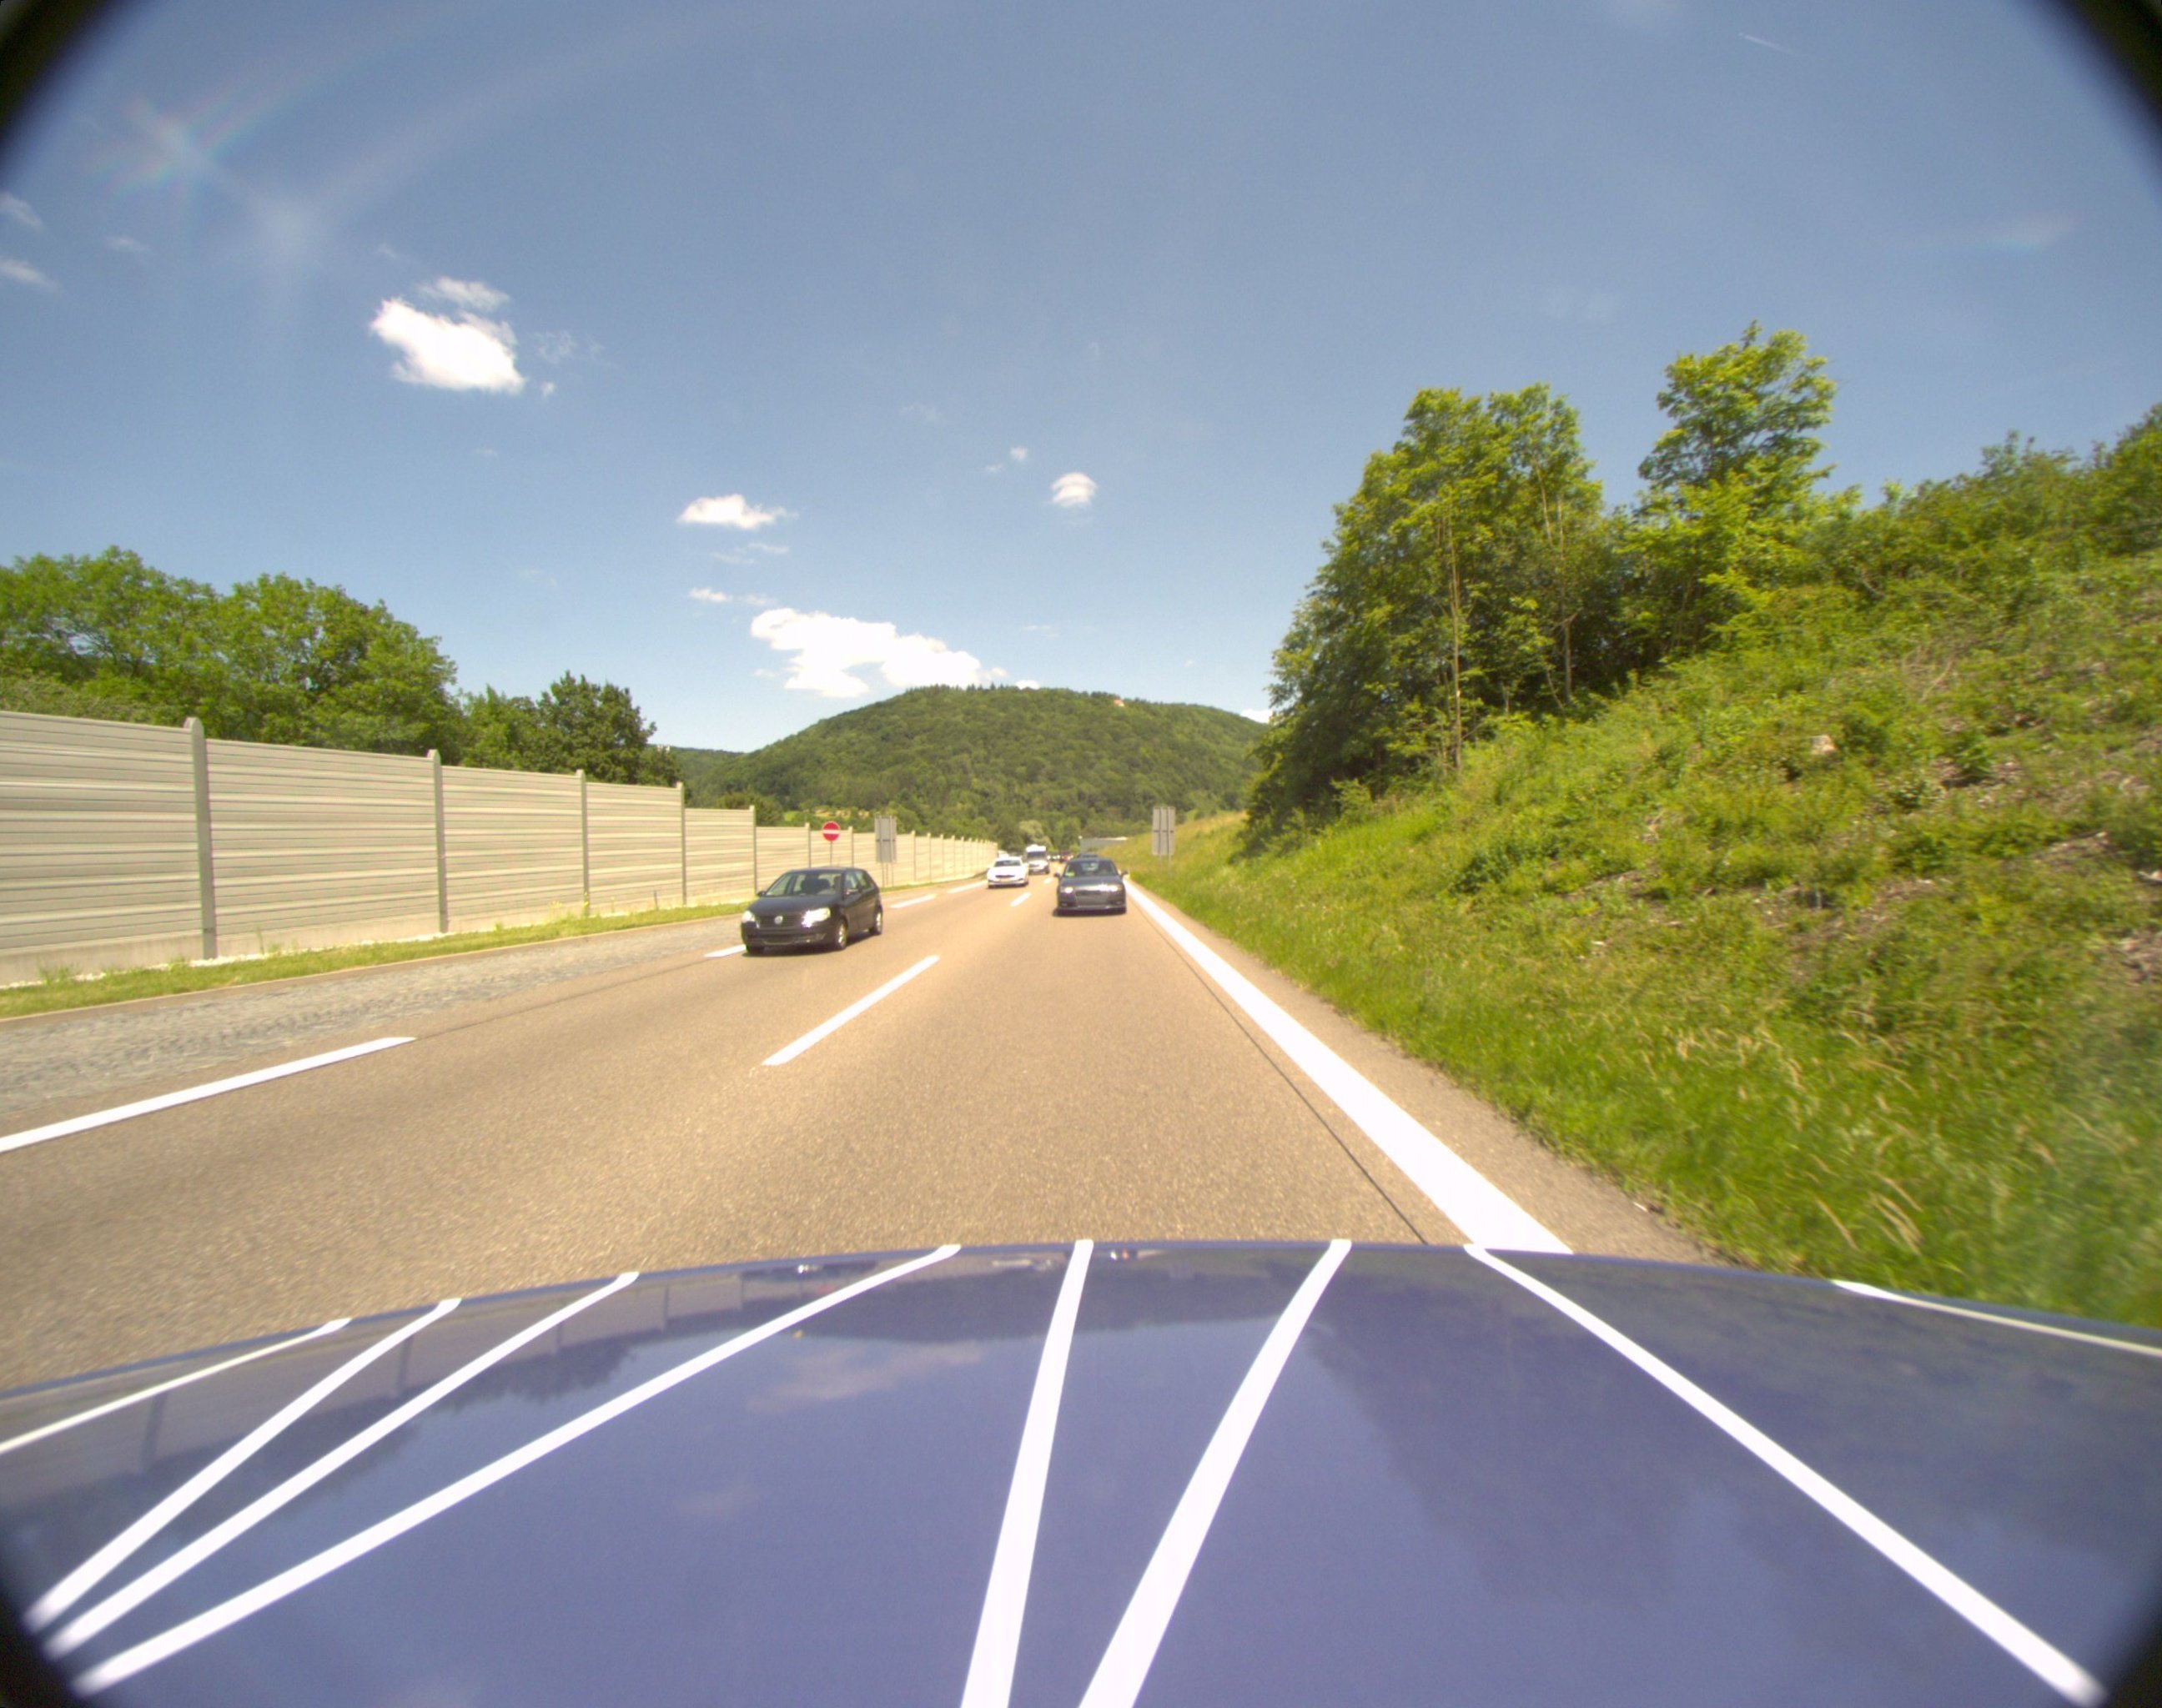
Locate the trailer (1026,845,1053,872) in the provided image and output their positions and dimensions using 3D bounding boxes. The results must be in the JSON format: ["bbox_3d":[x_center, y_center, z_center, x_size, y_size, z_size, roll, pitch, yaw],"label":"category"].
[{"bbox_3d":[-3.346,0.337,60.997,1.999,1.959,3.997,-2,2,-4],"label":"trailer"}]

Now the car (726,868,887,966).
[{"bbox_3d":[-4.933,1.053,14.236,1.696,1.414,3.837,-2,1,-2],"label":"car"}]

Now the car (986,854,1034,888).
[{"bbox_3d":[-3.404,0.786,37.122,1.907,1.422,3.721,-2,2,0],"label":"car"}]

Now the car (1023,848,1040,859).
[{"bbox_3d":[-7.860,-0.096,121.255,1.700,1.524,3.674,-6,1,-19],"label":"car"}]

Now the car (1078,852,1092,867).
[{"bbox_3d":[0.436,0.562,76.587,1.286,1.305,3.452,-3,1,1],"label":"car"}]

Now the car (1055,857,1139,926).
[{"bbox_3d":[0.370,0.825,18.543,1.755,1.382,4.055,-3,0,1],"label":"car"}]

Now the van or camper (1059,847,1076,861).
[{"bbox_3d":[-1.962,-0.065,108.063,1.818,1.856,3.610,-4,1,-7],"label":"van or camper"}]

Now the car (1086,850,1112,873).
[{"bbox_3d":[1.225,0.512,52.248,1.695,1.422,3.463,-3,1,1],"label":"car"}]

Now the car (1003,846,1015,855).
[{"bbox_3d":[-17.261,-0.795,182.065,2.001,2.002,3.993,-4,1,-20],"label":"car"}]

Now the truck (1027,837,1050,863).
[{"bbox_3d":[-5.678,-0.534,100.121,2.603,3.090,6.854,-6,1,-4],"label":"truck"}]

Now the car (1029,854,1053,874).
[{"bbox_3d":[-2.982,0.739,57.245,1.488,1.375,3.738,-1,0,1],"label":"car"}]
